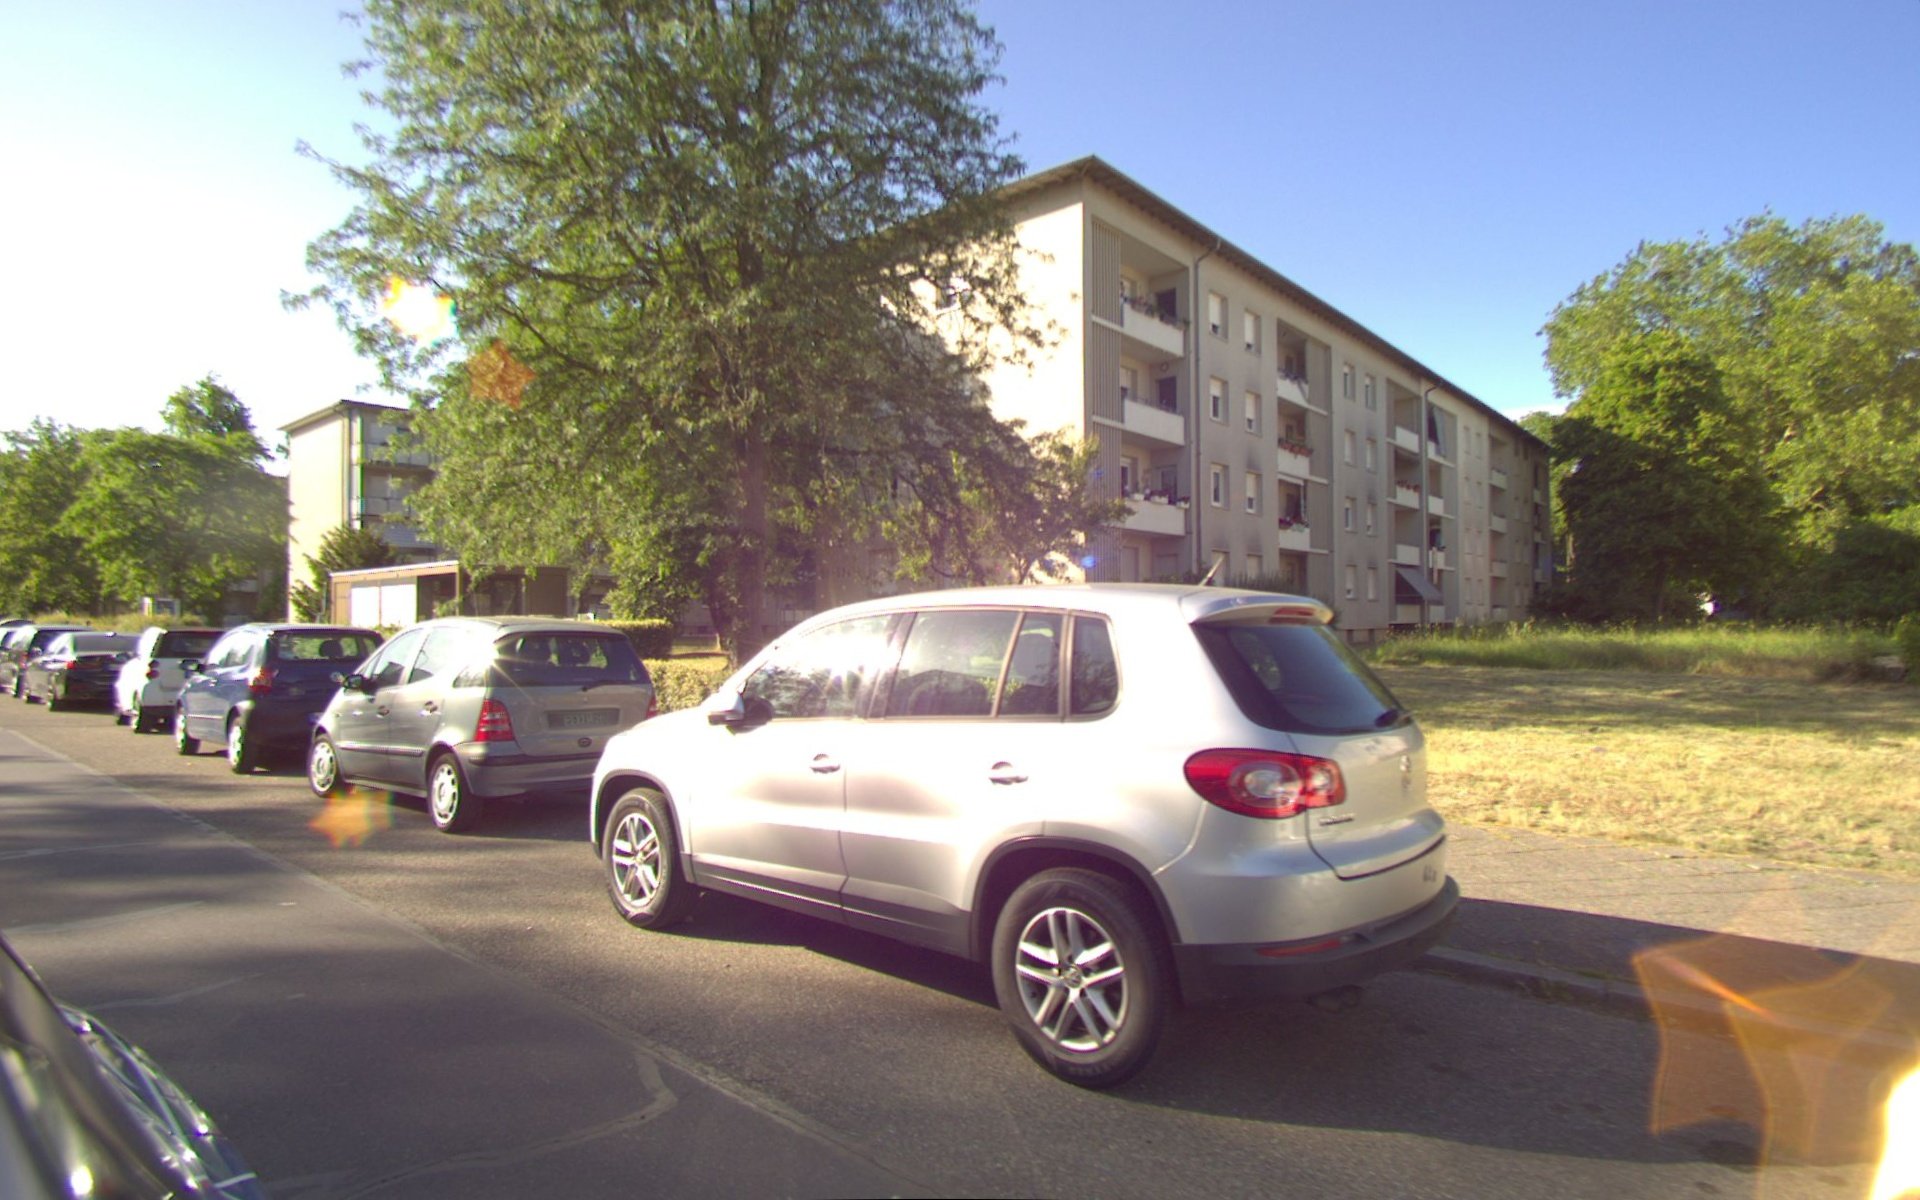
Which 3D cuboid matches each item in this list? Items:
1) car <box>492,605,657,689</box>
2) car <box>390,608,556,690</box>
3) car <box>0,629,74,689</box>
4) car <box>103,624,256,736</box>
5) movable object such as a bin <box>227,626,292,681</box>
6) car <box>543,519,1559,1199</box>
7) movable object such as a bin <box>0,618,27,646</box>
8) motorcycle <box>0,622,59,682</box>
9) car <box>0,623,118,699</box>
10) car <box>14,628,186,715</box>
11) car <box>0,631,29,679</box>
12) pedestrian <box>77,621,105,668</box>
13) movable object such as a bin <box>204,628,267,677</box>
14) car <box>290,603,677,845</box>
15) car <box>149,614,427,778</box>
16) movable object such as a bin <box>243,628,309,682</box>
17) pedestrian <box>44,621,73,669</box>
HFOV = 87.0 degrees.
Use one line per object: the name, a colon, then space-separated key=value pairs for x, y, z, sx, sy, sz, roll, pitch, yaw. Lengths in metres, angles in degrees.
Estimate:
car: x=-8.397 y=0.977 z=21.912 sx=3.996 sy=1.653 sz=1.555 roll=-1 pitch=-1 yaw=39
car: x=-10.146 y=0.972 z=20.971 sx=3.996 sy=1.537 sz=1.555 roll=-1 pitch=-1 yaw=39
car: x=-25.059 y=1.544 z=26.955 sx=3.958 sy=1.492 sz=1.735 roll=-2 pitch=-4 yaw=43
car: x=-12.325 y=1.199 z=15.927 sx=3.143 sy=1.586 sz=1.428 roll=-2 pitch=-4 yaw=44
movable object such as a bin: x=-18.974 y=1.417 z=27.398 sx=1.342 sy=1.419 sz=1.165 roll=-2 pitch=-1 yaw=41
car: x=0.060 y=0.697 z=4.630 sx=4.346 sy=1.652 sz=1.883 roll=-2 pitch=-3 yaw=41
movable object such as a bin: x=-50.414 y=1.709 z=53.804 sx=1.325 sy=1.425 sz=0.992 roll=-2 pitch=1 yaw=39
motorcycle: x=-28.079 y=1.533 z=29.721 sx=0.931 sy=1.740 sz=2.234 roll=-1 pitch=-4 yaw=38
car: x=-20.768 y=1.347 z=23.056 sx=3.716 sy=1.586 sz=1.736 roll=-1 pitch=-4 yaw=40
car: x=-16.605 y=1.308 z=19.461 sx=4.533 sy=1.492 sz=1.736 roll=-2 pitch=-4 yaw=40
car: x=-30.827 y=1.695 z=31.846 sx=4.266 sy=1.432 sz=1.736 roll=-2 pitch=-4 yaw=41
pedestrian: x=-31.865 y=1.629 z=37.106 sx=0.599 sy=1.692 sz=0.713 roll=-2 pitch=-1 yaw=41
movable object such as a bin: x=-20.166 y=1.439 z=28.178 sx=1.342 sy=1.297 sz=1.165 roll=-2 pitch=-1 yaw=41
car: x=-4.120 y=0.885 z=8.559 sx=3.532 sy=1.618 sz=1.619 roll=-2 pitch=-3 yaw=40
car: x=-8.023 y=1.027 z=11.948 sx=3.967 sy=1.618 sz=1.735 roll=-2 pitch=-4 yaw=42
movable object such as a bin: x=-17.922 y=1.420 z=26.518 sx=1.343 sy=1.350 sz=1.165 roll=-2 pitch=-1 yaw=42
pedestrian: x=-32.468 y=1.615 z=36.441 sx=0.616 sy=1.692 sz=0.713 roll=-2 pitch=-1 yaw=41
